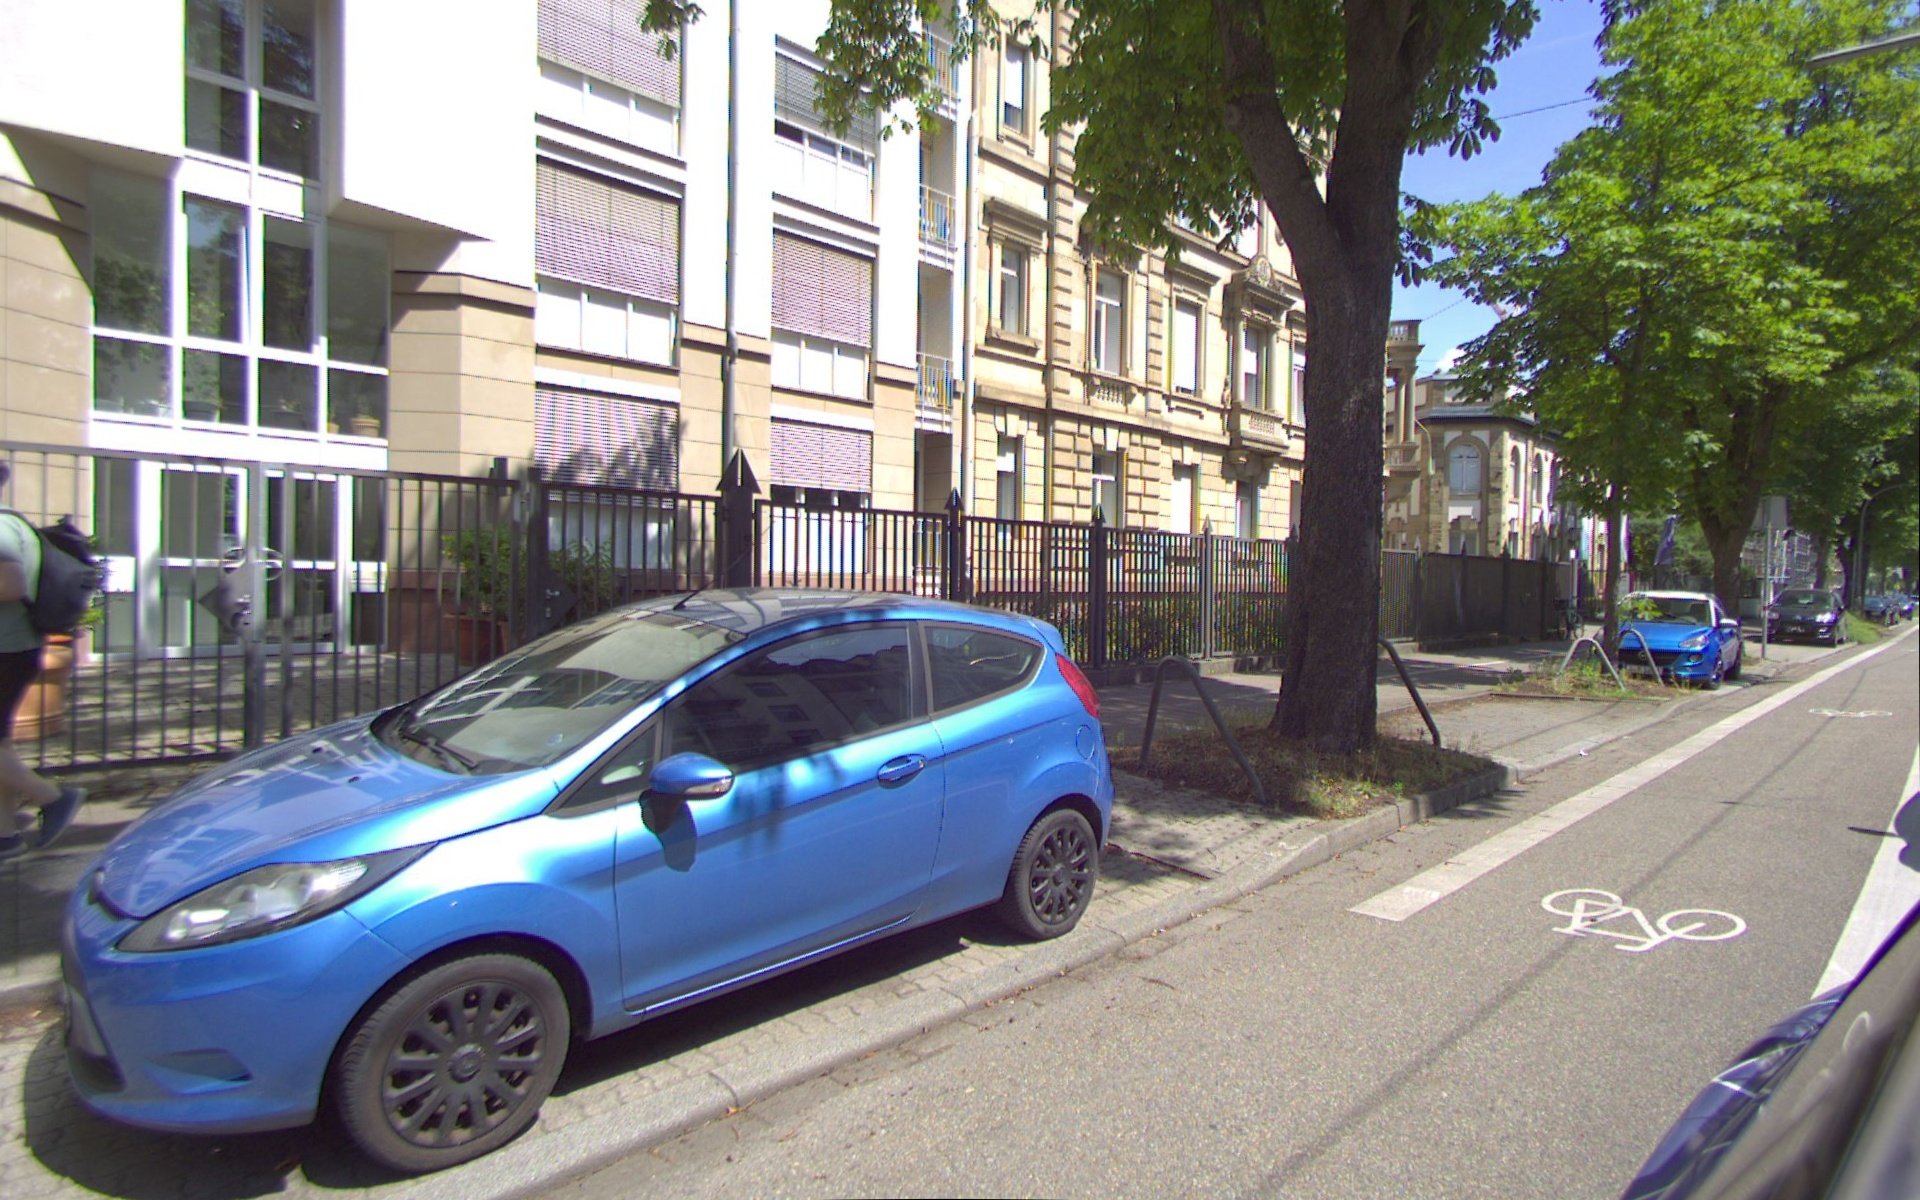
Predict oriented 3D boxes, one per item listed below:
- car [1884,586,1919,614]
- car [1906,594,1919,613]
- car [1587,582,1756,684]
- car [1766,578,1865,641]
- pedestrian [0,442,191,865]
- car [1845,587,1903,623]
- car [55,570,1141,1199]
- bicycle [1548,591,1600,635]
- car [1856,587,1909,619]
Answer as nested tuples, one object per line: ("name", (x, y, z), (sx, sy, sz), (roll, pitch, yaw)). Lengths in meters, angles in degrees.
("car", (54.015, -0.020, 57.720), (3.934, 1.420, 1.624), (0, 4, -44))
("car", (77.871, 0.301, 81.959), (3.934, 1.420, 1.624), (0, 4, -44))
("car", (11.738, 0.458, 16.630), (3.417, 1.471, 1.692), (0, 2, -45))
("car", (25.069, 0.243, 29.611), (4.016, 1.635, 1.732), (0, 4, -44))
("pedestrian", (-4.272, 0.221, 4.684), (1.066, 1.820, 0.685), (0, 1, -44))
("car", (40.603, 0.189, 44.940), (3.760, 1.420, 1.624), (0, 4, -44))
("car", (-1.051, 0.647, 3.971), (1.678, 1.461, 3.661), (2, 2, 45))
("bicycle", (15.615, 0.312, 25.716), (1.946, 1.084, 0.608), (0, 2, -42))
("car", (45.200, 0.116, 49.542), (3.934, 1.420, 1.624), (0, 4, -44))
